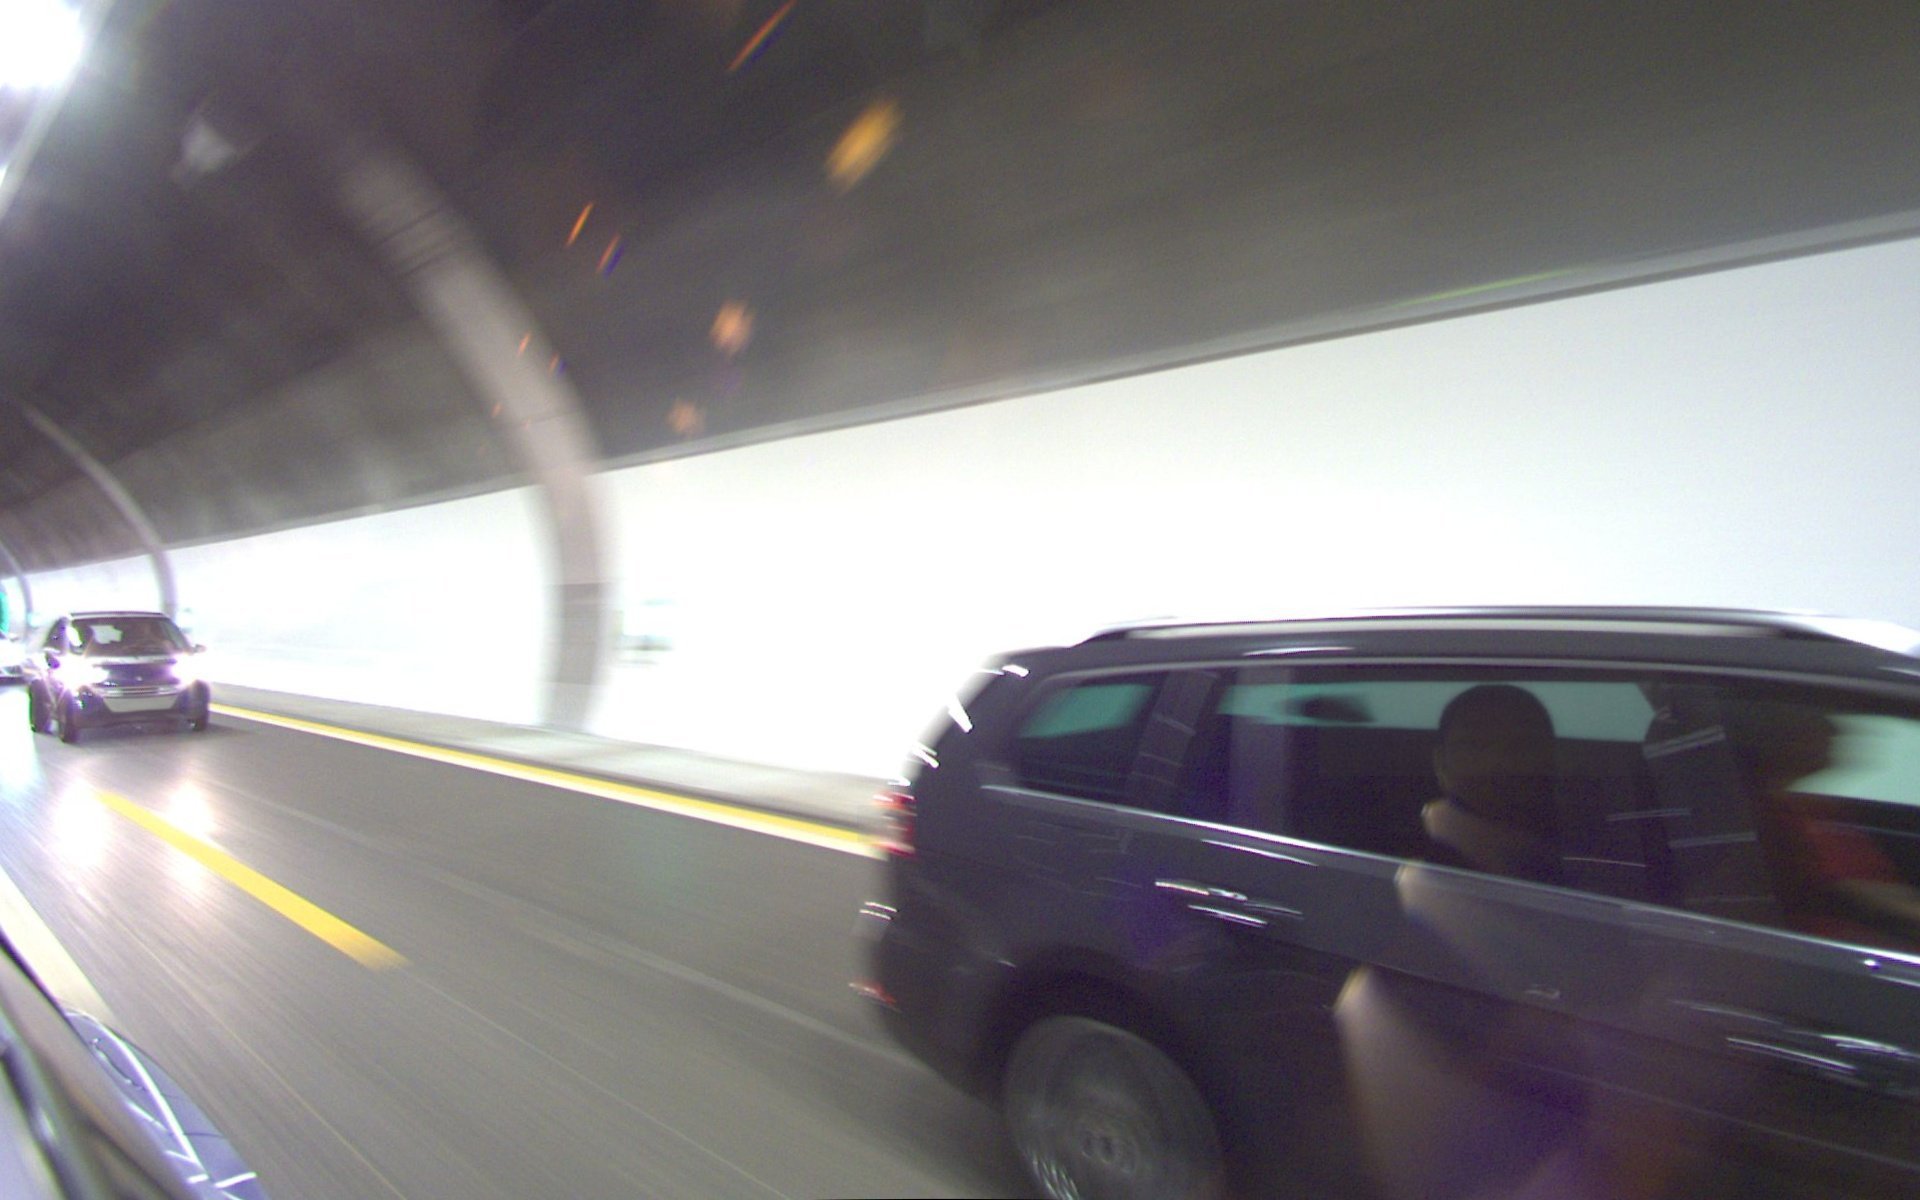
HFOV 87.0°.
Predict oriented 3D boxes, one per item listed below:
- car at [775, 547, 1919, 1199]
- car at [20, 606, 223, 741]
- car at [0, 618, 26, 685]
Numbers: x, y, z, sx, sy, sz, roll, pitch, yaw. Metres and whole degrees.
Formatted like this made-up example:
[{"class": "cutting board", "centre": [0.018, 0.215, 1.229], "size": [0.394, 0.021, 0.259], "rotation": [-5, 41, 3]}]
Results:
[{"class": "car", "centre": [1.906, 0.645, 1.914], "size": [4.879, 1.449, 1.760], "rotation": [-1, 0, 41]}, {"class": "car", "centre": [-10.763, 0.863, 12.956], "size": [2.648, 1.528, 1.512], "rotation": [-1, -1, 39]}, {"class": "car", "centre": [-22.508, 1.143, 22.696], "size": [4.059, 1.431, 1.885], "rotation": [-1, -1, 41]}]
